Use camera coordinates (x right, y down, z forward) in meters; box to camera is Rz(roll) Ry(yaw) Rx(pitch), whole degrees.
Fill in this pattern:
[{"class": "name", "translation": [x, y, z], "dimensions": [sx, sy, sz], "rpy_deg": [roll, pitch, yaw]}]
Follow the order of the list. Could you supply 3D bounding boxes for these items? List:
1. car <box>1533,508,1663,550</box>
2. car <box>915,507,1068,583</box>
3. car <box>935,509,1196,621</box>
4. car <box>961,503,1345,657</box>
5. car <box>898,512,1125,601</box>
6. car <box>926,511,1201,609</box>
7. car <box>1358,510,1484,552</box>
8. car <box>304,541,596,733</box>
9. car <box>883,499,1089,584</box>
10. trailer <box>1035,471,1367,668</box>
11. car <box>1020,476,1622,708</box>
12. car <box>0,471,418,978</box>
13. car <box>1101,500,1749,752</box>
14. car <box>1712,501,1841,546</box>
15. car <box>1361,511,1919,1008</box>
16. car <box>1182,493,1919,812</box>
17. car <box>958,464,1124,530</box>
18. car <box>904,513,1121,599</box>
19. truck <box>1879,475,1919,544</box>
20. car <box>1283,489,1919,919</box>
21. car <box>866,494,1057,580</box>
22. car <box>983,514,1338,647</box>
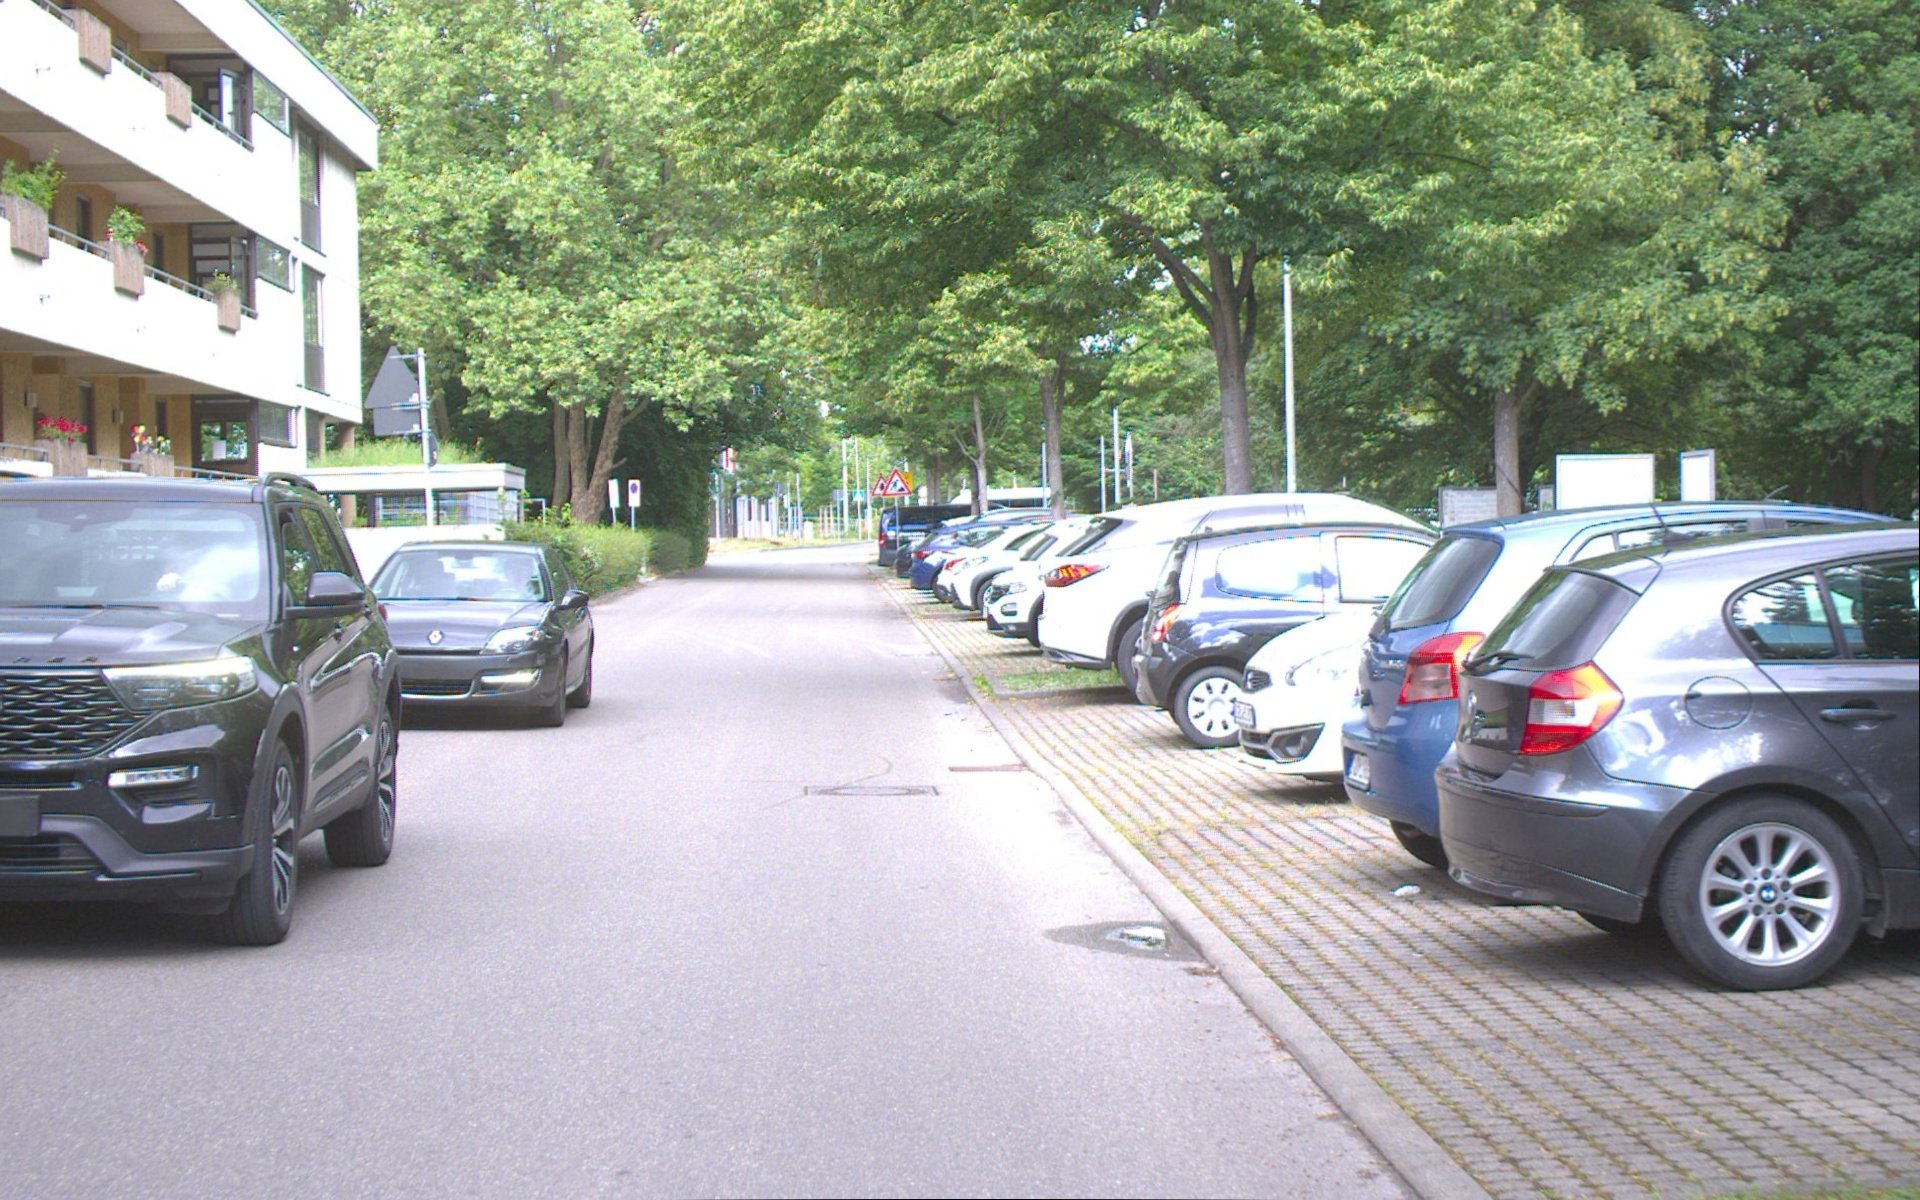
[{"class": "car", "translation": [22.872, -2.558, 123.374], "dimensions": [4.429, 1.423, 1.703], "rpy_deg": [-1, 1, 5]}, {"class": "car", "translation": [0.706, -1.275, 79.051], "dimensions": [3.379, 1.569, 1.797], "rpy_deg": [-3, 2, -1]}, {"class": "car", "translation": [1.586, -0.547, 52.344], "dimensions": [3.840, 1.510, 1.881], "rpy_deg": [-2, 1, 1]}, {"class": "car", "translation": [2.170, -0.247, 39.409], "dimensions": [4.112, 1.542, 1.861], "rpy_deg": [-3, 1, -5]}, {"class": "car", "translation": [0.920, -0.809, 63.366], "dimensions": [4.072, 1.451, 1.851], "rpy_deg": [-2, 1, -1]}, {"class": "car", "translation": [1.722, -0.685, 58.229], "dimensions": [4.485, 1.449, 1.847], "rpy_deg": [-2, 1, -2]}, {"class": "car", "translation": [16.608, -2.482, 123.948], "dimensions": [4.393, 1.423, 1.703], "rpy_deg": [-1, 1, 4]}, {"class": "car", "translation": [-4.009, 0.234, 27.671], "dimensions": [1.913, 1.407, 4.424], "rpy_deg": [0, 1, -3]}, {"class": "car", "translation": [0.551, -1.322, 76.436], "dimensions": [4.415, 1.670, 2.082], "rpy_deg": [-3, 2, -2]}, {"class": "trailer", "translation": [2.369, -0.314, 34.231], "dimensions": [3.029, 1.784, 1.564], "rpy_deg": [-3, 1, -5]}, {"class": "car", "translation": [2.953, -0.083, 28.947], "dimensions": [4.818, 1.687, 1.974], "rpy_deg": [-2, 1, 1]}, {"class": "car", "translation": [-3.480, 0.374, 14.117], "dimensions": [1.913, 1.711, 5.059], "rpy_deg": [0, 1, -2]}, {"class": "car", "translation": [3.105, 0.153, 23.599], "dimensions": [4.158, 1.565, 1.851], "rpy_deg": [-1, 1, 0]}, {"class": "car", "translation": [29.148, -2.726, 122.812], "dimensions": [4.283, 1.521, 1.703], "rpy_deg": [-1, 1, 5]}, {"class": "car", "translation": [3.527, 0.429, 11.357], "dimensions": [4.085, 1.459, 1.786], "rpy_deg": [-1, 1, -4]}, {"class": "car", "translation": [3.443, 0.244, 18.884], "dimensions": [4.157, 1.565, 1.786], "rpy_deg": [-2, 1, -6]}, {"class": "car", "translation": [3.093, -3.899, 130.495], "dimensions": [6.256, 2.467, 2.139], "rpy_deg": [0, 1, 3]}, {"class": "car", "translation": [1.027, -0.886, 68.440], "dimensions": [4.072, 1.512, 1.851], "rpy_deg": [-3, 1, -6]}, {"class": "truck", "translation": [35.725, -3.240, 122.387], "dimensions": [5.507, 2.418, 2.192], "rpy_deg": [-1, 1, 5]}, {"class": "car", "translation": [3.520, 0.347, 13.959], "dimensions": [4.134, 1.565, 1.786], "rpy_deg": [-1, 1, -4]}, {"class": "car", "translation": [0.028, -1.695, 91.962], "dimensions": [4.954, 2.006, 2.166], "rpy_deg": [-3, 1, -1]}, {"class": "car", "translation": [2.408, -0.253, 41.941], "dimensions": [4.007, 1.417, 1.792], "rpy_deg": [-3, 1, -7]}]
